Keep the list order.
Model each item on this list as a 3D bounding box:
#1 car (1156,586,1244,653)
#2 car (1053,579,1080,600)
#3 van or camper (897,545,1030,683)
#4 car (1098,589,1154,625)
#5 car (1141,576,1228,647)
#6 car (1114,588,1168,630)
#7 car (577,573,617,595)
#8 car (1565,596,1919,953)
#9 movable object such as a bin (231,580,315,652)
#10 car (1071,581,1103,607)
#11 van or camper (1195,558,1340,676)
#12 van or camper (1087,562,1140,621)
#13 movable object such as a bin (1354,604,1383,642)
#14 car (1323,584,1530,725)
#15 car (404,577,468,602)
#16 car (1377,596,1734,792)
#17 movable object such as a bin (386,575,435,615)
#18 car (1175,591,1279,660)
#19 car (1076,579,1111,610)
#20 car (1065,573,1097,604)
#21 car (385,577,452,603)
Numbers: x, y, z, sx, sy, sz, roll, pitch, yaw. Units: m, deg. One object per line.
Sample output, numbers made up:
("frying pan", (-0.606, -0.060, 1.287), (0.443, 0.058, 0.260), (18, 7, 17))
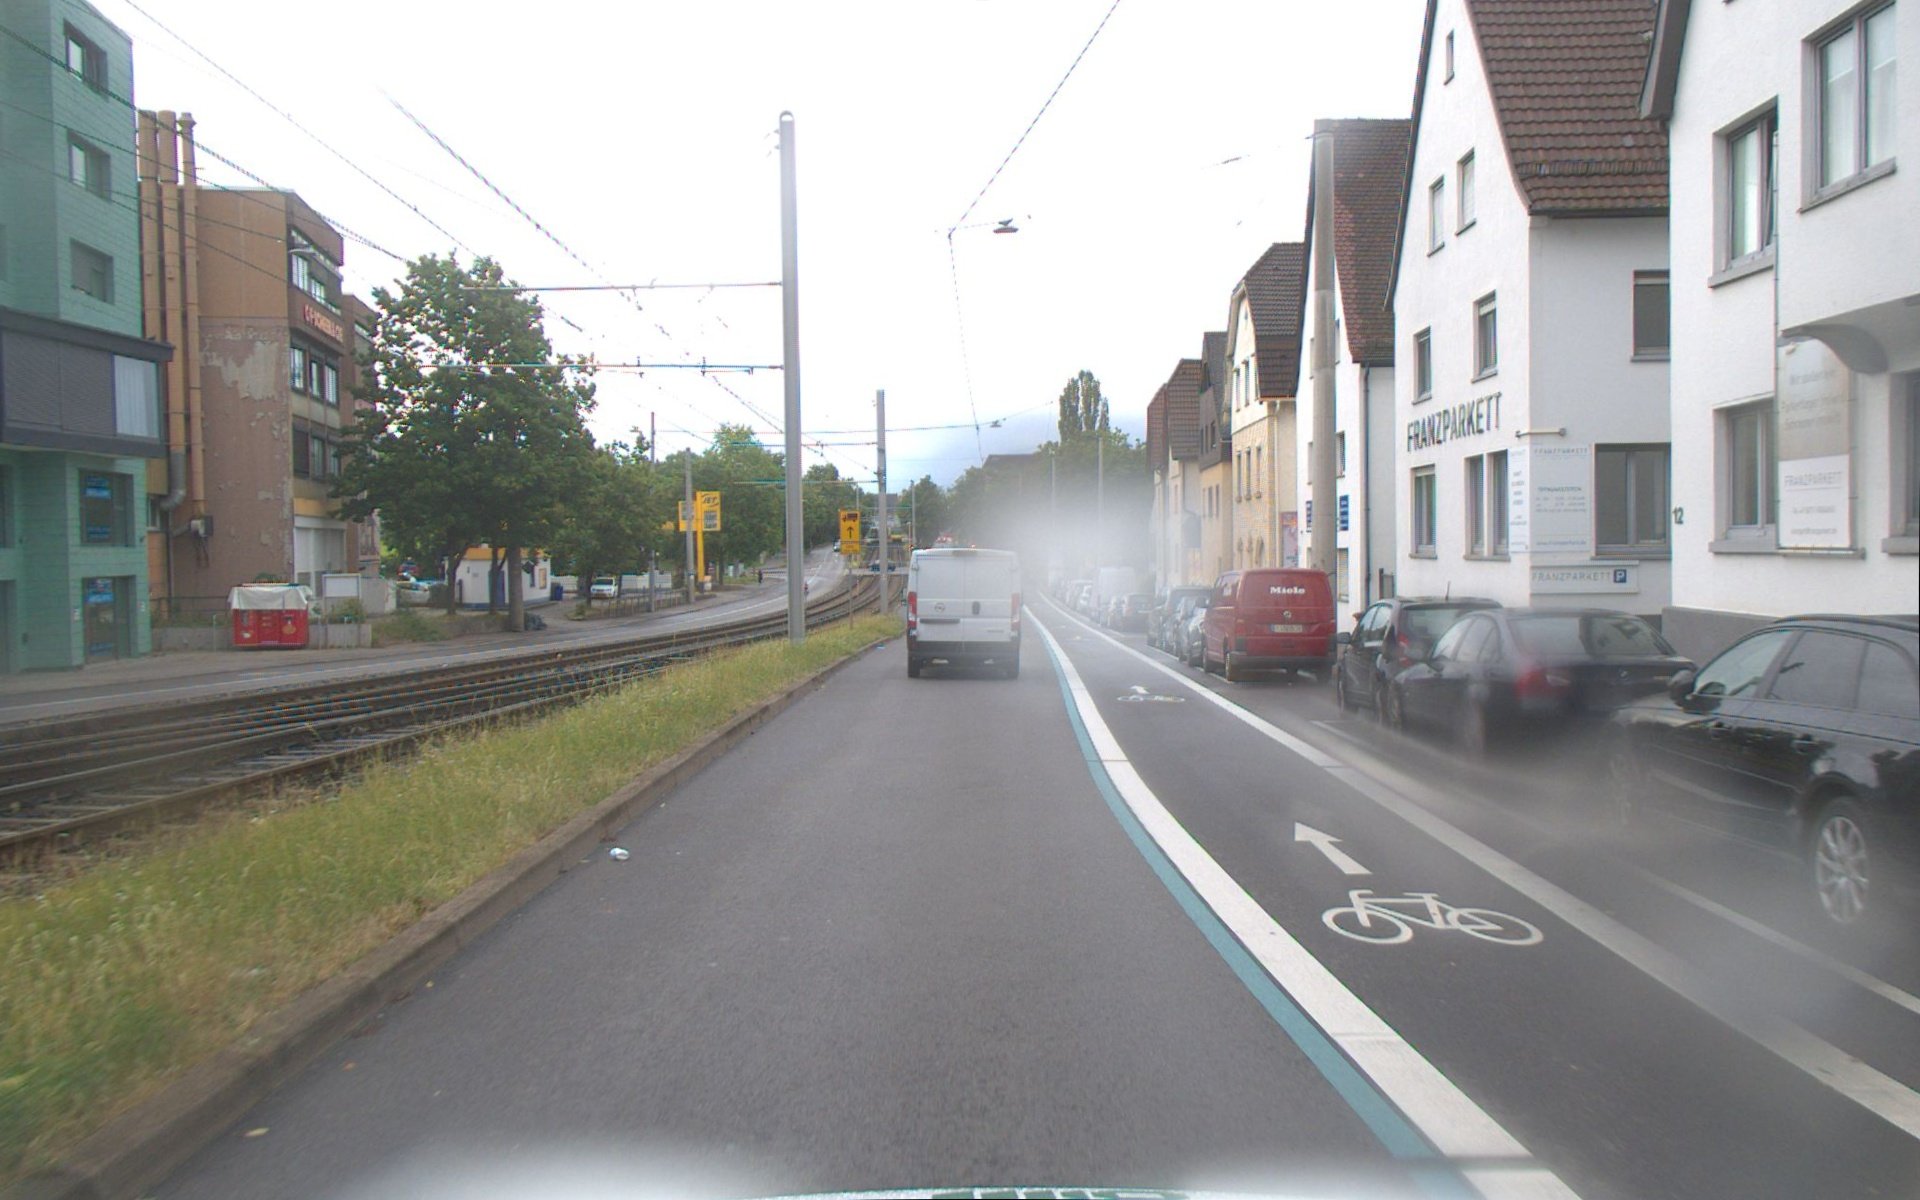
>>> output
("car", (5.996, 0.448, 41.705), (1.600, 1.565, 4.136), (2, 1, 0))
("car", (8.297, -0.824, 128.852), (1.810, 1.526, 3.954), (1, 1, -1))
("van or camper", (-0.030, 0.220, 30.155), (2.155, 2.292, 4.681), (1, 0, -3))
("car", (7.118, 0.288, 71.432), (1.752, 1.430, 4.551), (1, 1, -3))
("car", (6.247, 0.284, 46.458), (1.801, 1.831, 4.687), (1, 1, 0))
("car", (7.127, 0.336, 65.371), (1.534, 1.524, 3.511), (1, 1, -3))
("car", (-25.199, -1.098, 114.843), (1.953, 1.467, 3.999), (1, 0, -2))
("car", (4.850, 0.715, 8.941), (1.642, 1.448, 4.567), (0, 0, 2))
("movable object such as a bin", (-22.213, 0.496, 53.551), (2.093, 2.194, 1.799), (1, 2, -8))
("car", (7.658, -0.395, 99.738), (1.612, 1.471, 3.955), (1, 1, 0))
("van or camper", (5.550, 0.269, 30.450), (1.813, 1.953, 4.996), (-1, 0, 1))
("van or camper", (7.243, -0.462, 78.484), (1.952, 2.608, 6.044), (1, 2, 1))
("movable object such as a bin", (9.727, 0.541, 39.420), (0.574, 0.895, 0.448), (-1, 0, 0))
("car", (5.384, 0.593, 19.510), (1.545, 1.477, 3.721), (-1, -1, 3))
("car", (-33.175, -0.648, 104.660), (3.716, 1.505, 1.563), (1, 0, -25))
("car", (5.023, 0.699, 14.641), (1.676, 1.437, 4.567), (0, 0, 2))
("movable object such as a bin", (-29.407, -0.284, 88.633), (1.957, 1.952, 3.563), (1, 2, -10))
("car", (5.730, 0.504, 35.973), (1.759, 1.400, 4.672), (0, 0, 3))
("car", (7.575, -0.325, 94.176), (1.612, 1.643, 4.105), (1, 1, 0))
("car", (7.682, -0.748, 105.350), (1.711, 1.838, 3.954), (1, 2, -1))
("car", (-32.660, -0.596, 99.743), (3.716, 1.479, 1.540), (1, 0, -25))
